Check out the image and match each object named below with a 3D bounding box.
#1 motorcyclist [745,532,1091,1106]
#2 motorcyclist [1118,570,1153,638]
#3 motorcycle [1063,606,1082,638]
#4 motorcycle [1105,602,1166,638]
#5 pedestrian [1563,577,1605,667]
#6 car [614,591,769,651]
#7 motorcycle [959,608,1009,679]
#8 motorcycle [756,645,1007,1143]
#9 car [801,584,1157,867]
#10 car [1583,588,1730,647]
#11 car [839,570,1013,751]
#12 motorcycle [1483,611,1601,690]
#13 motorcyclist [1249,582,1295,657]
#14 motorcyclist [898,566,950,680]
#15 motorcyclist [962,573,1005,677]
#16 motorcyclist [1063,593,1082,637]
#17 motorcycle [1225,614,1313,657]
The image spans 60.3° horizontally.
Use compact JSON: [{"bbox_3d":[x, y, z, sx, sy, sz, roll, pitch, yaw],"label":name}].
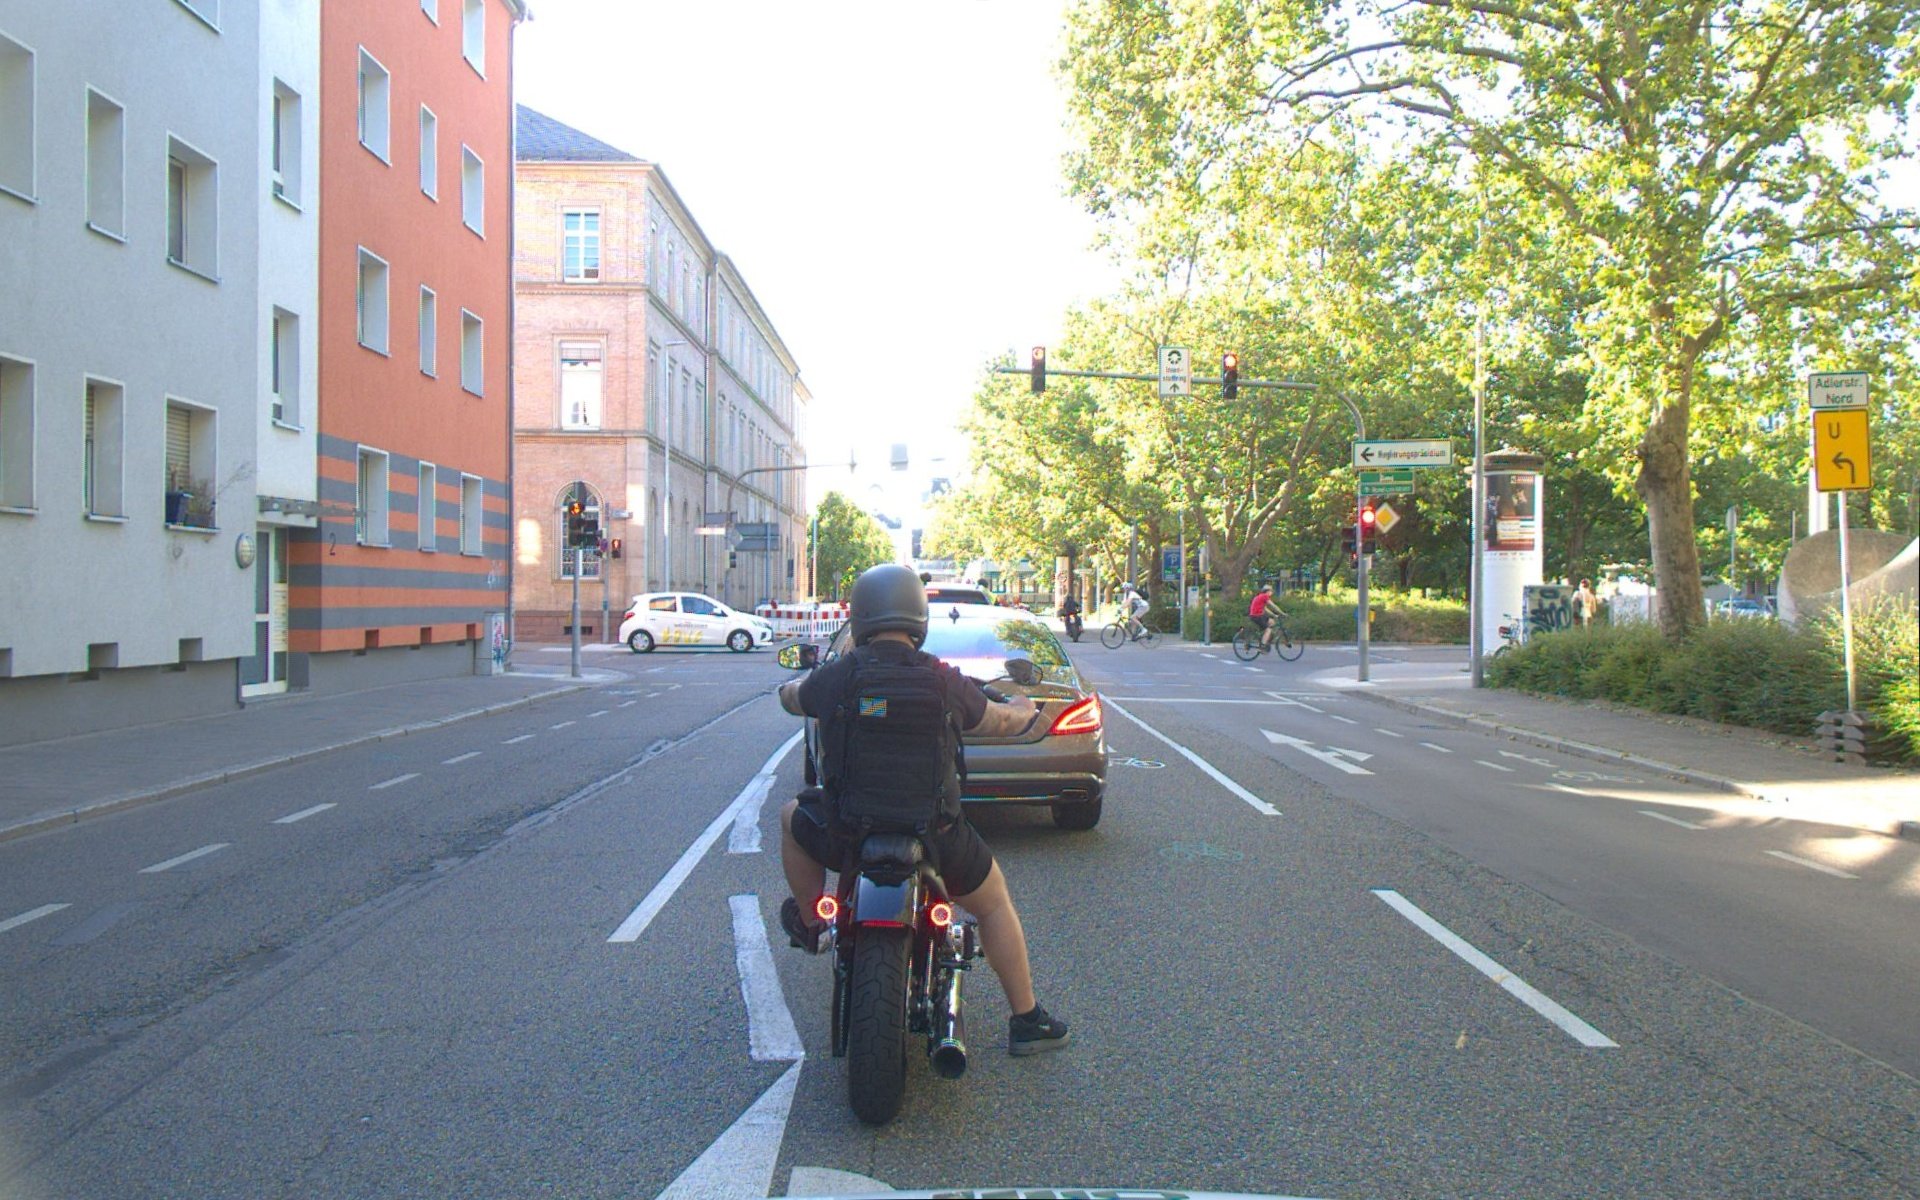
[{"bbox_3d":[-0.127,0.634,5.324,0.970,1.639,1.120,1,0,-1],"label":"motorcyclist"},{"bbox_3d":[4.952,0.116,46.662,0.962,1.909,0.376,0,-1,3],"label":"motorcyclist"},{"bbox_3d":[4.058,0.781,59.734,0.613,1.116,2.089,1,0,5],"label":"motorcycle"},{"bbox_3d":[4.950,0.562,46.673,1.683,1.019,0.416,0,0,3],"label":"motorcycle"},{"bbox_3d":[13.081,0.460,34.689,0.634,1.859,0.667,0,0,-1],"label":"pedestrian"},{"bbox_3d":[-6.629,0.527,41.064,3.671,1.442,1.438,0,0,-4],"label":"car"},{"bbox_3d":[0.405,0.730,28.604,0.781,1.151,2.236,1,0,-1],"label":"motorcycle"},{"bbox_3d":[-0.222,0.809,5.414,0.646,1.261,2.057,1,0,-1],"label":"motorcycle"},{"bbox_3d":[-0.088,0.689,11.123,1.790,1.512,4.326,1,0,-7],"label":"car"},{"bbox_3d":[21.991,0.541,52.290,3.907,1.803,1.737,0,0,-3],"label":"car"},{"bbox_3d":[-0.348,0.578,17.607,1.618,1.681,3.999,1,0,-1],"label":"car"},{"bbox_3d":[9.774,0.841,27.820,1.743,1.265,0.723,1,0,4],"label":"motorcycle"},{"bbox_3d":[7.401,0.465,39.267,0.964,1.753,0.550,1,-1,0],"label":"motorcyclist"},{"bbox_3d":[-0.587,0.369,27.080,0.814,1.820,0.913,1,-1,-1],"label":"motorcyclist"},{"bbox_3d":[0.400,0.425,28.653,0.702,1.773,0.751,1,-1,-1],"label":"motorcyclist"},{"bbox_3d":[4.061,0.553,59.835,0.629,1.564,0.943,1,0,6],"label":"motorcyclist"},{"bbox_3d":[7.320,0.844,39.261,1.971,0.979,0.580,1,0,0],"label":"motorcycle"}]
